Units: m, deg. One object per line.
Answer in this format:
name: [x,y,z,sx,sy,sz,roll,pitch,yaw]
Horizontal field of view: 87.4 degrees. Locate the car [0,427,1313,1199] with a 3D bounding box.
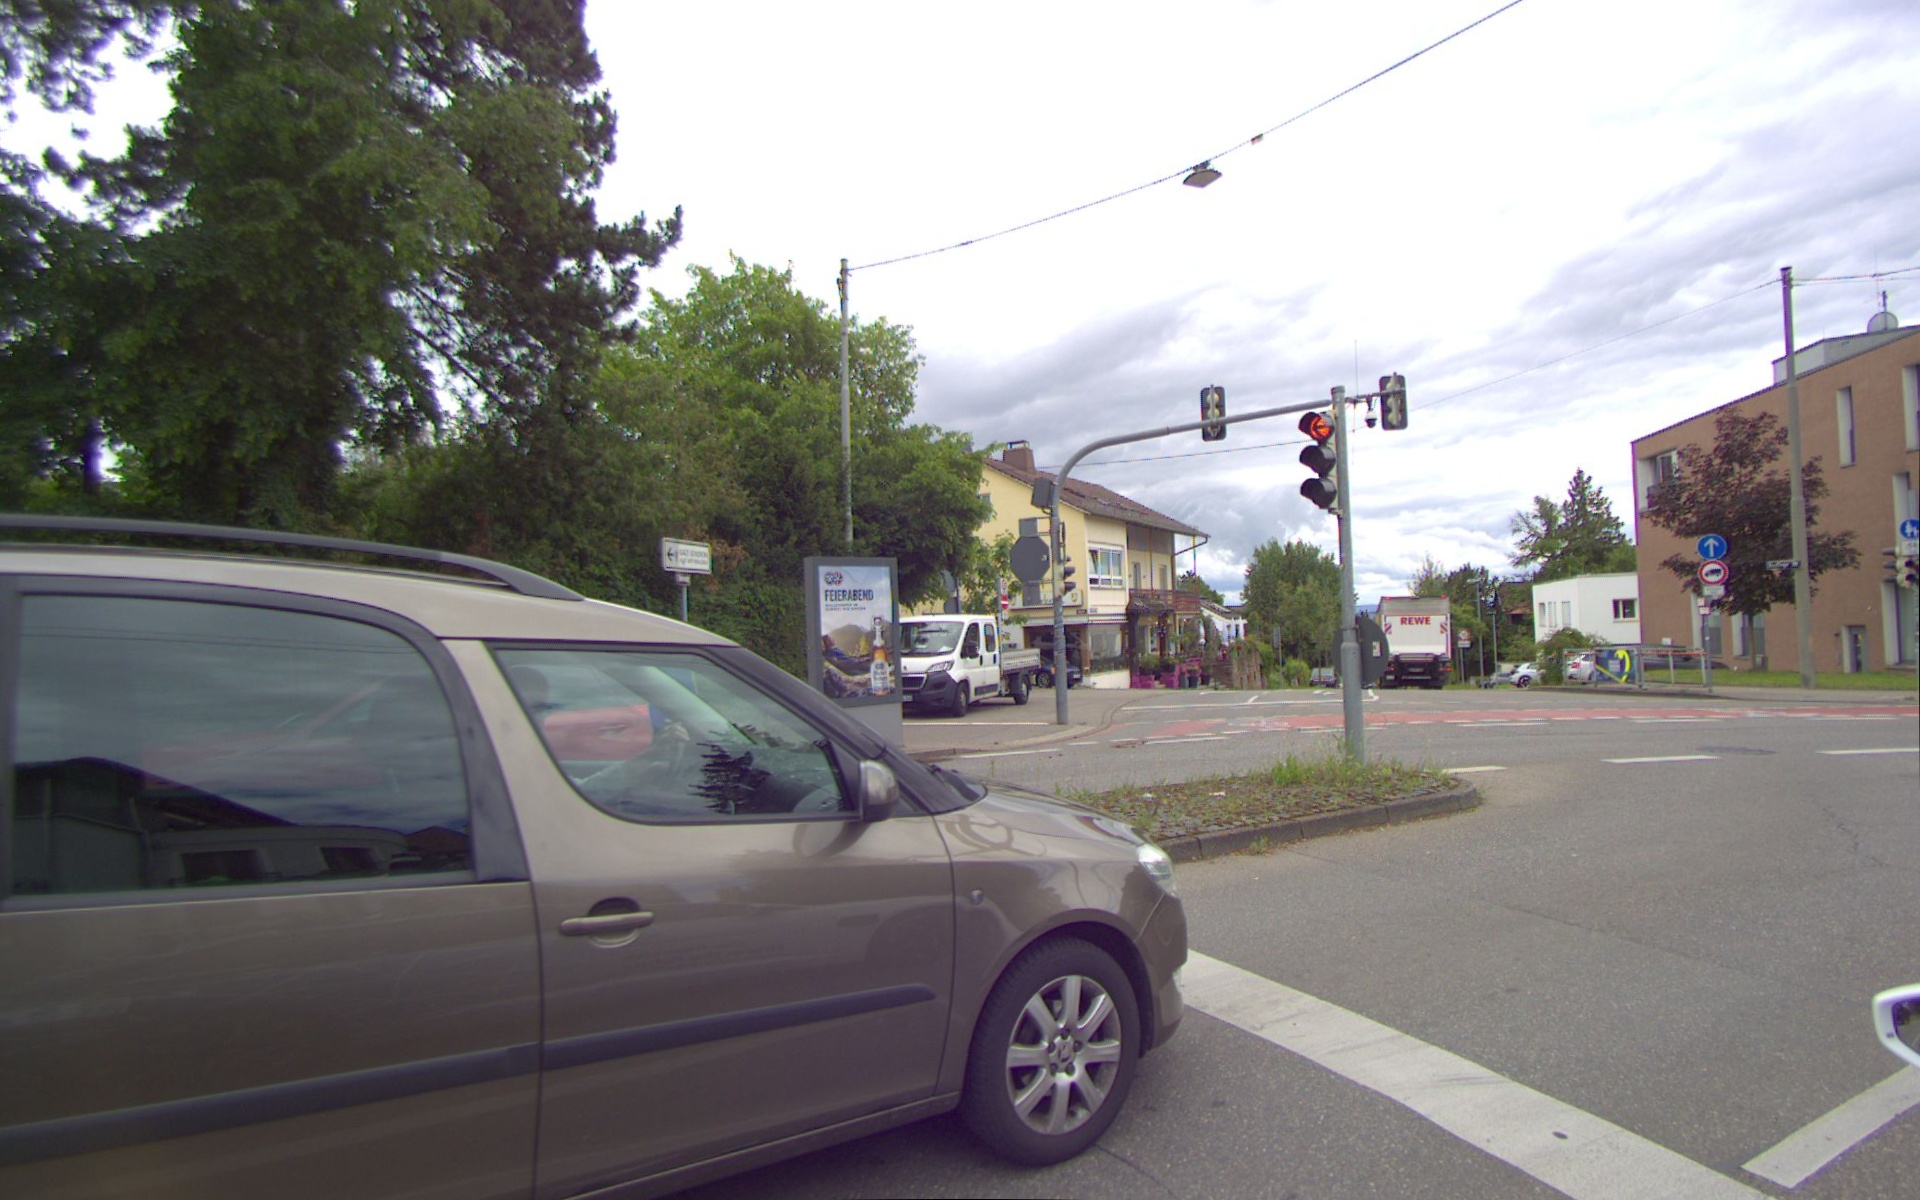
car: [-1.039,0.672,2.881,3.959,1.728,1.882,1,-3,-34]

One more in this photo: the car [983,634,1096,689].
car: [3.128,2.422,39.546,3.927,2.040,1.998,-2,-3,28]

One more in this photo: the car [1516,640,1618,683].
car: [30.261,3.059,50.212,3.921,2.040,2.001,-2,-3,17]

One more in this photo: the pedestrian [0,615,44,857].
pedestrian: [-8.540,1.148,8.467,0.696,2.040,1.022,-2,-2,30]

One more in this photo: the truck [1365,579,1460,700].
truck: [20.367,1.821,45.866,3.074,4.796,11.795,-2,-3,21]

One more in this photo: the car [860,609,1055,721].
car: [0.181,1.474,23.647,2.244,2.256,6.469,-2,-3,23]

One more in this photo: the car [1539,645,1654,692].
car: [28.633,3.075,45.333,3.920,2.040,2.001,-1,-3,16]

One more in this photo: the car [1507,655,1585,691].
car: [34.860,4.323,59.891,3.928,2.040,1.997,-2,-3,29]

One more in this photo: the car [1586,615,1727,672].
car: [26.490,1.668,38.374,3.921,2.040,2.001,-2,-3,18]

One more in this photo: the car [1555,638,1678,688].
car: [27.850,2.683,42.754,3.920,2.040,2.001,-2,-3,17]
